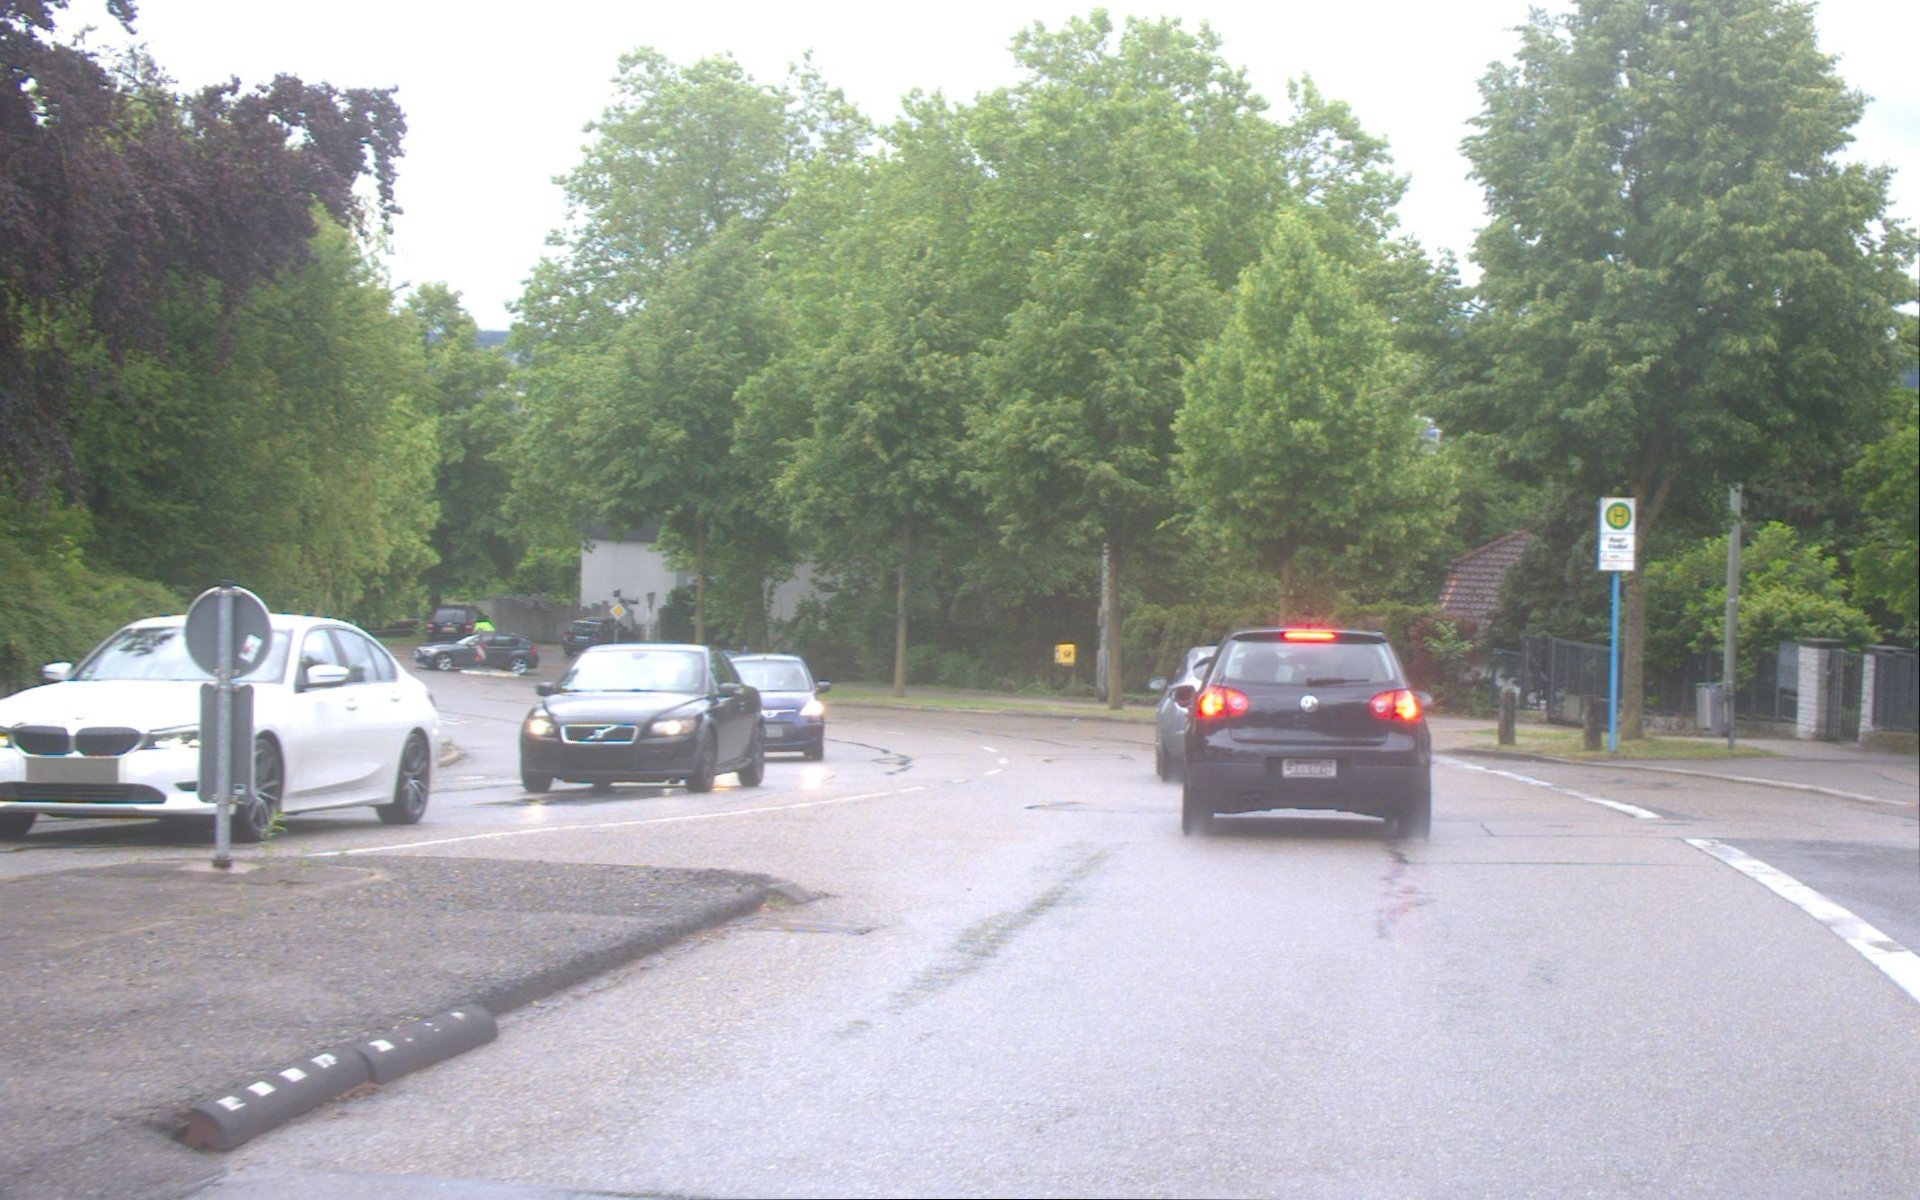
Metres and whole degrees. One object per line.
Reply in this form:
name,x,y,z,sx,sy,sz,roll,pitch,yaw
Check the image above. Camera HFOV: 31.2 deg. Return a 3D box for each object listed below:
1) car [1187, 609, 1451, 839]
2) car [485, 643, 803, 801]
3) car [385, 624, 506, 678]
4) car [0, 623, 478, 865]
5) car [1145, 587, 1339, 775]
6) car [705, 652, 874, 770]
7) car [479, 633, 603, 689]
car,2.609,0.870,25.212,1.765,1.533,3.999,0,-1,5
car,-2.968,1.130,33.303,1.909,1.388,4.513,1,-1,10
car,-18.083,1.785,120.659,3.986,1.831,2.001,0,1,-15
car,-4.792,0.871,22.497,1.909,1.388,4.513,1,-1,10
car,3.052,0.833,37.938,1.765,1.795,4.247,-1,2,0
car,-2.447,1.598,50.550,1.909,1.607,4.514,1,-1,4
car,-14.448,2.107,118.593,3.986,1.831,2.001,0,1,-15
